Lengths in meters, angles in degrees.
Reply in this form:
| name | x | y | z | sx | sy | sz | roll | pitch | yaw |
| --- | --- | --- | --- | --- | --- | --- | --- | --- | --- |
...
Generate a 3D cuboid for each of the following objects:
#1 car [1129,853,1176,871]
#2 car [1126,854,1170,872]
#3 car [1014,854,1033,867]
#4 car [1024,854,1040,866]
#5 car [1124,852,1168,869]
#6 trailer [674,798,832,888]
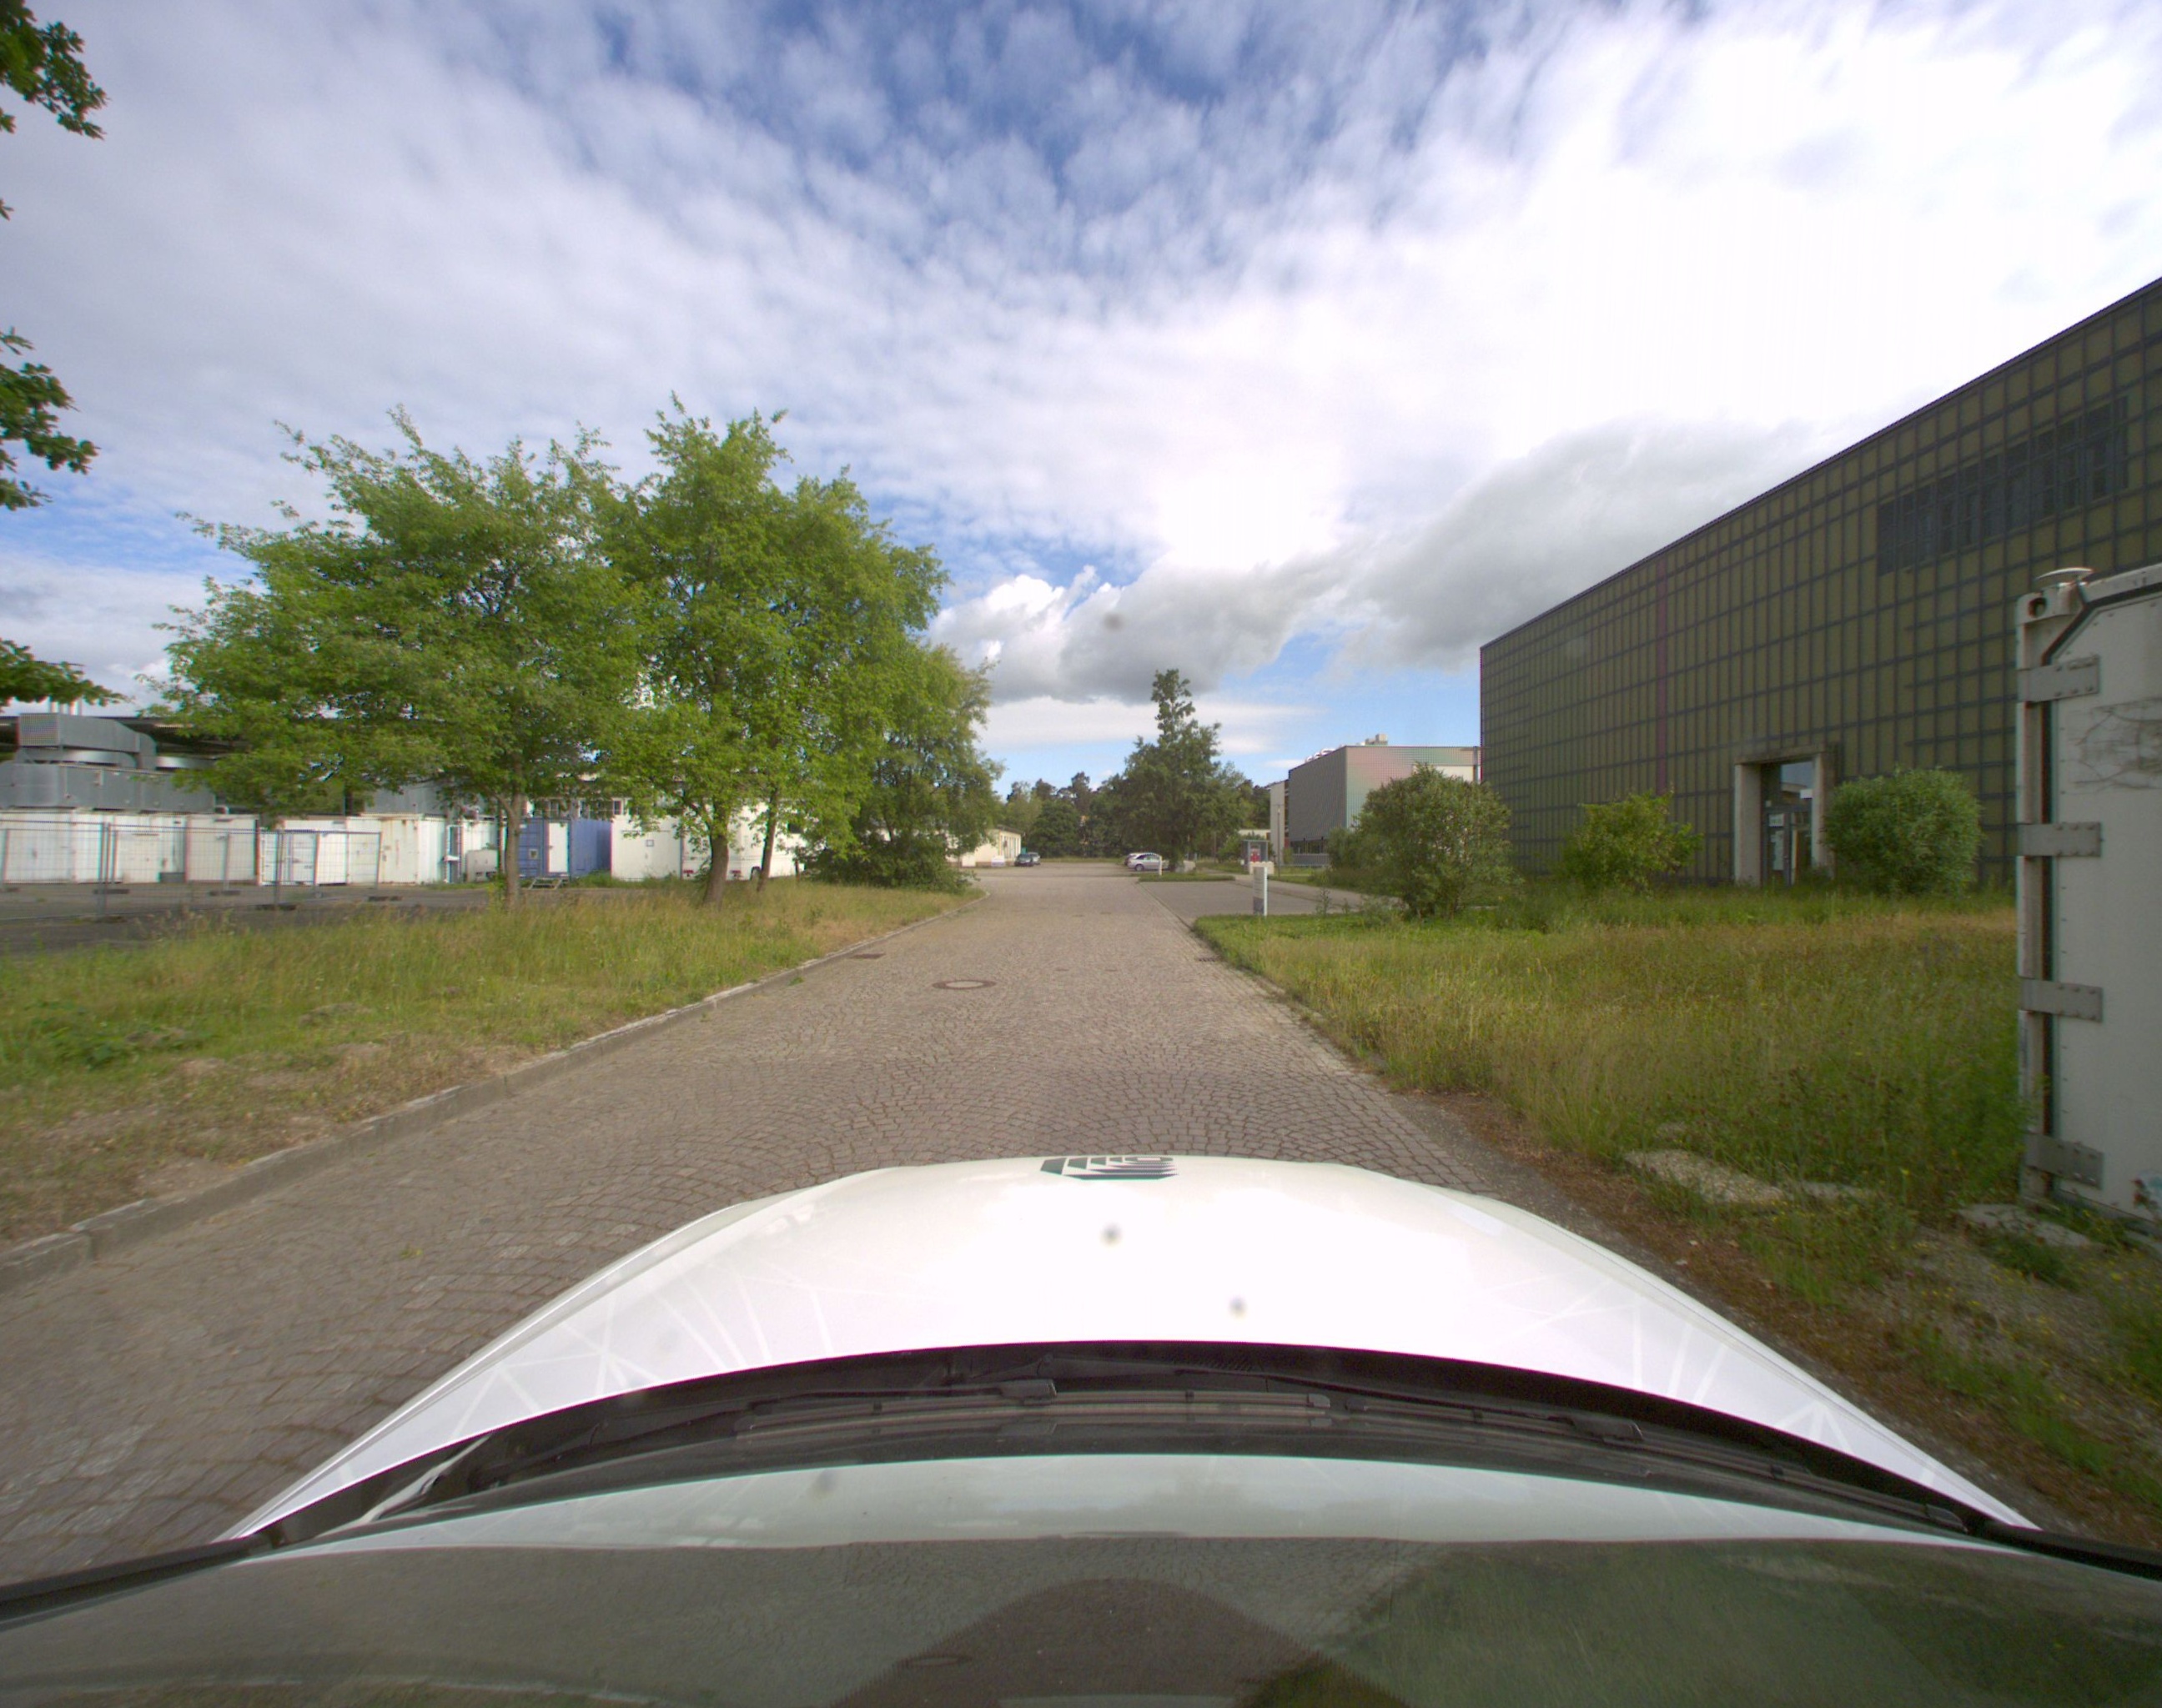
| name | x | y | z | sx | sy | sz | roll | pitch | yaw |
| --- | --- | --- | --- | --- | --- | --- | --- | --- | --- |
| car | 6.156 | 0.653 | 70.524 | 3.970 | 1.448 | 1.654 | -2 | 0 | 1 |
| car | 5.554 | 0.717 | 67.836 | 3.509 | 1.362 | 1.623 | -2 | 0 | 1 |
| car | -6.310 | 0.736 | 89.539 | 1.642 | 1.369 | 3.999 | 0 | 0 | 1 |
| car | -5.966 | 0.694 | 99.880 | 1.642 | 1.458 | 3.999 | 0 | 0 | 1 |
| car | 6.034 | 0.597 | 75.659 | 3.970 | 1.475 | 1.654 | -2 | 0 | 1 |
| trailer | -14.749 | -0.440 | 37.826 | 2.614 | 3.598 | 10.186 | 0 | 0 | 3 |
